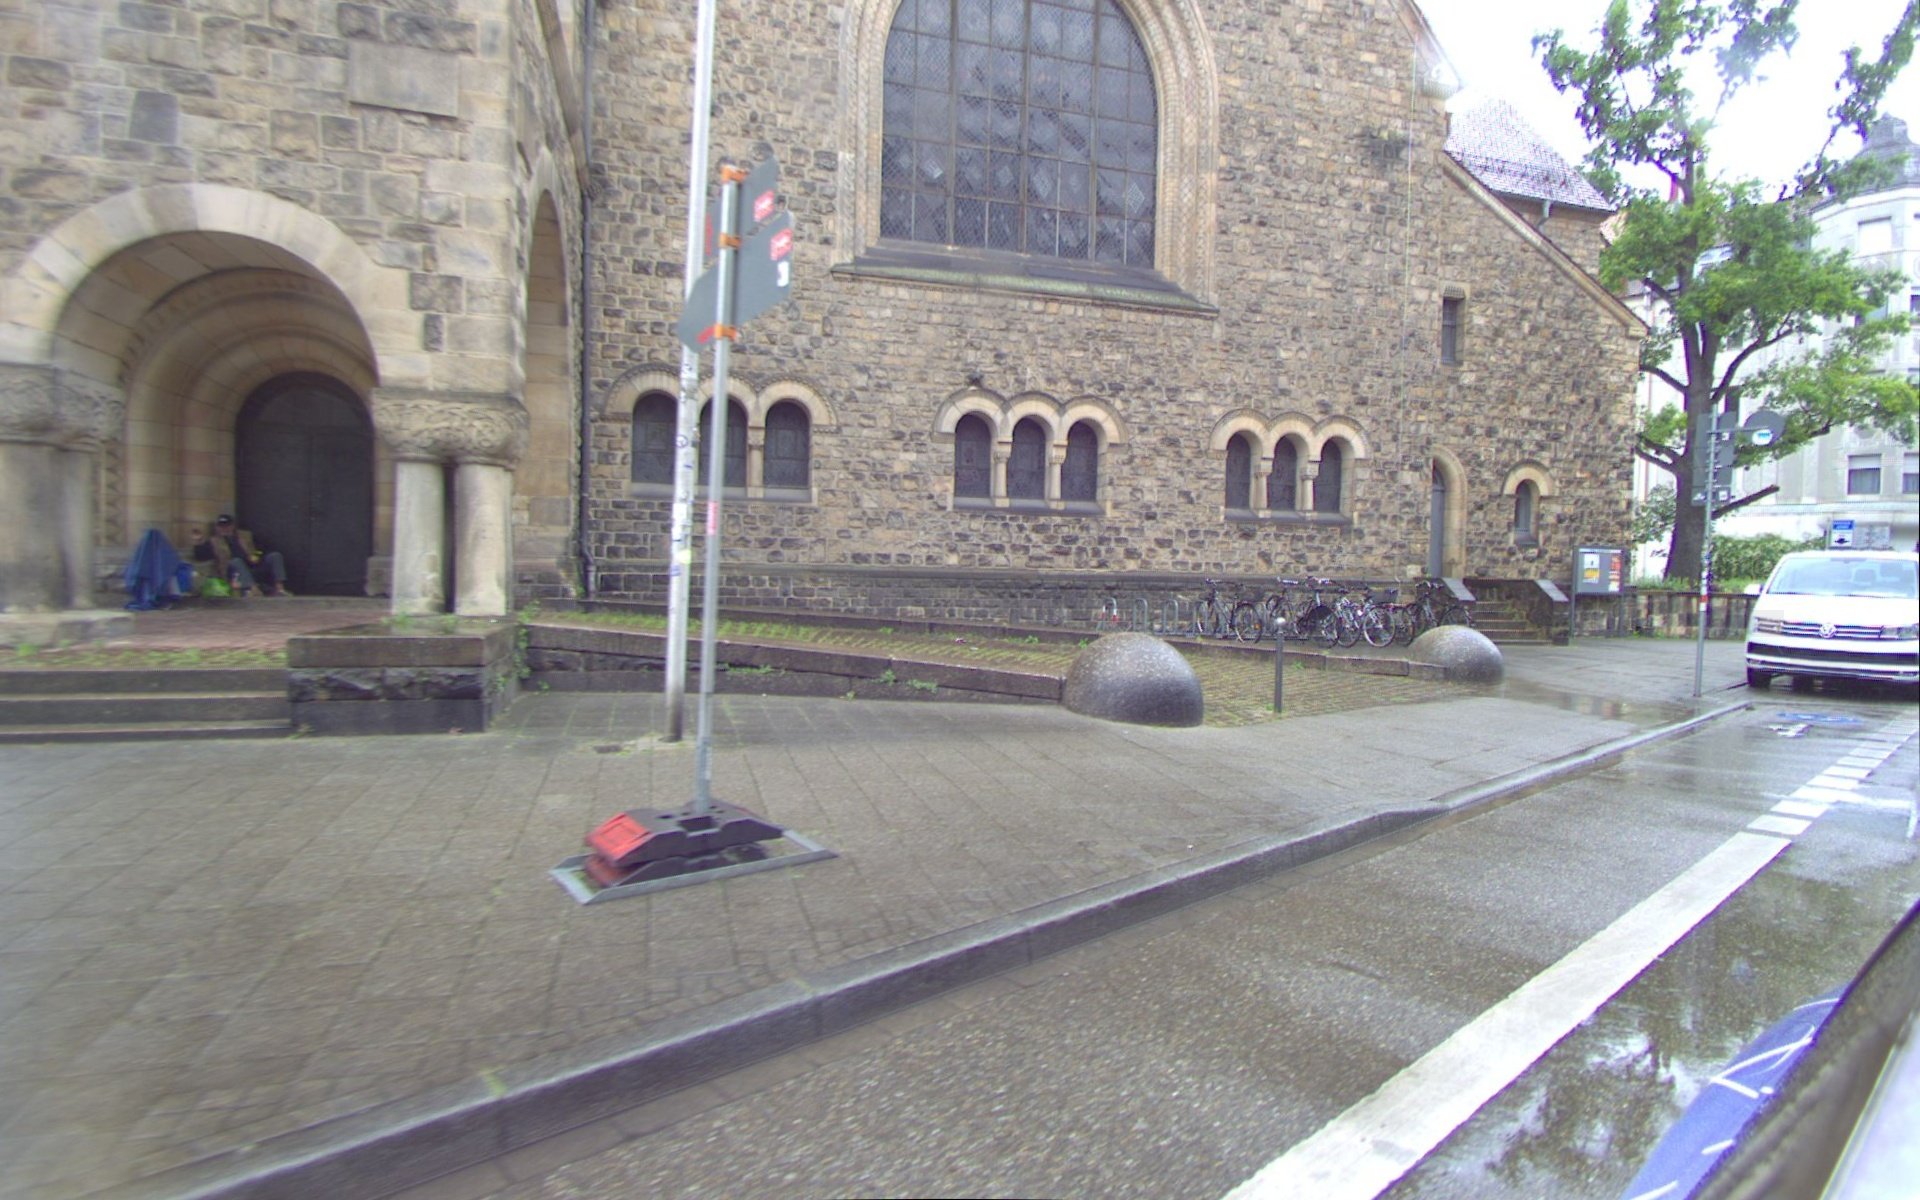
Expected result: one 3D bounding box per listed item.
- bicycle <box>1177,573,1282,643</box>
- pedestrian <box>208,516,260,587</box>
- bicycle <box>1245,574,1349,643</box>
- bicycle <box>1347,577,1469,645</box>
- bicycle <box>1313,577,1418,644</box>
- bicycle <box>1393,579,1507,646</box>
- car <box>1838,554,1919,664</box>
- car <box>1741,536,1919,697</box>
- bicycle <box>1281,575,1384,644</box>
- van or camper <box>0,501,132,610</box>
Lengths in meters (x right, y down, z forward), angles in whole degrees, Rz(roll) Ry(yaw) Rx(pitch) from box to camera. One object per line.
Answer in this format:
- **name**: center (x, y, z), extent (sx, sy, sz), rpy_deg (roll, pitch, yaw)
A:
- **bicycle**: center (4.547, 0.104, 17.238), extent (0.564, 1.062, 2.014), rpy_deg (1, 3, -23)
- **pedestrian**: center (-9.370, -0.619, 13.073), extent (0.447, 0.895, 0.397), rpy_deg (1, 2, -18)
- **bicycle**: center (5.814, 0.120, 17.586), extent (0.569, 1.073, 1.933), rpy_deg (1, 3, -21)
- **bicycle**: center (7.935, 0.167, 18.039), extent (0.663, 1.073, 2.161), rpy_deg (1, 3, -19)
- **bicycle**: center (7.137, 0.159, 17.935), extent (0.569, 1.073, 1.933), rpy_deg (1, 3, -19)
- **bicycle**: center (8.779, 0.196, 18.219), extent (0.593, 1.079, 1.988), rpy_deg (1, 3, -18)
- **car**: center (17.995, 0.135, 18.848), extent (4.221, 1.868, 1.836), rpy_deg (-1, 3, -41)
- **car**: center (13.131, 0.141, 14.595), extent (5.180, 1.946, 1.908), rpy_deg (-1, 3, -41)
- **bicycle**: center (6.478, 0.142, 17.726), extent (0.569, 1.073, 1.933), rpy_deg (1, 3, -19)
- **van or camper**: center (-16.722, -0.704, 17.058), extent (3.848, 1.748, 1.653), rpy_deg (-3, 3, -17)
